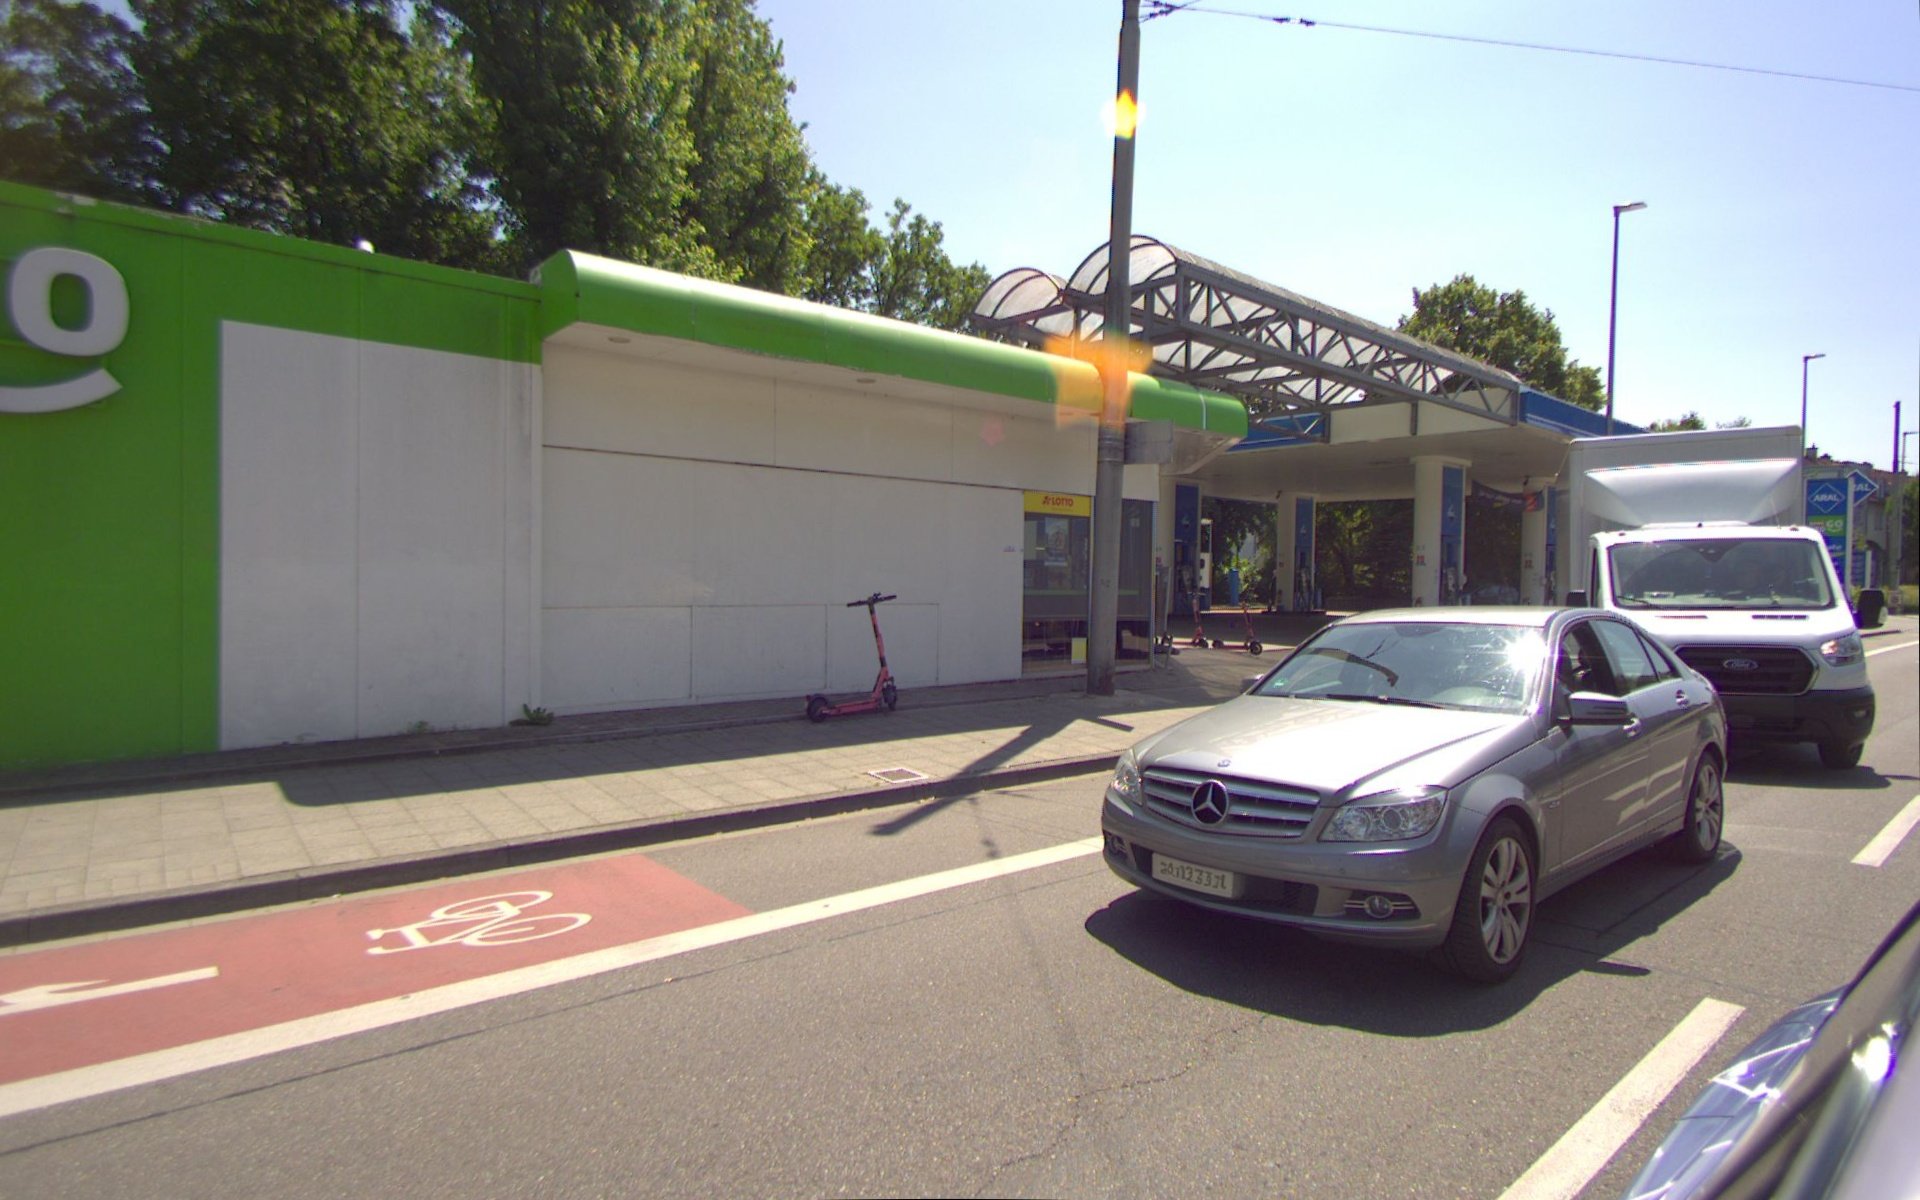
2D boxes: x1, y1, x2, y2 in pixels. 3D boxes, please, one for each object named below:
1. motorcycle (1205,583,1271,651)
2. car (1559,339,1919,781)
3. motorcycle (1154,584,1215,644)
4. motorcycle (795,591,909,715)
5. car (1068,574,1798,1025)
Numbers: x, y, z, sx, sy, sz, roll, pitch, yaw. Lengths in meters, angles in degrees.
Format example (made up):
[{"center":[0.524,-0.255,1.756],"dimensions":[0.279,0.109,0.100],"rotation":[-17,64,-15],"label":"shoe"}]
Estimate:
[{"center":[5.351,0.309,19.529],"dimensions":[0.357,1.225,1.156],"rotation":[2,2,-42],"label":"motorcycle"},{"center":[8.523,-0.354,11.998],"dimensions":[2.211,3.377,8.546],"rotation":[-1,0,29],"label":"car"},{"center":[4.529,0.271,20.464],"dimensions":[0.389,1.127,1.156],"rotation":[2,2,-42],"label":"motorcycle"},{"center":[-1.040,0.494,9.883],"dimensions":[1.098,1.118,0.253],"rotation":[-1,8,-40],"label":"motorcycle"},{"center":[3.031,0.663,5.703],"dimensions":[5.207,1.492,1.716],"rotation":[0,-1,-40],"label":"car"}]
